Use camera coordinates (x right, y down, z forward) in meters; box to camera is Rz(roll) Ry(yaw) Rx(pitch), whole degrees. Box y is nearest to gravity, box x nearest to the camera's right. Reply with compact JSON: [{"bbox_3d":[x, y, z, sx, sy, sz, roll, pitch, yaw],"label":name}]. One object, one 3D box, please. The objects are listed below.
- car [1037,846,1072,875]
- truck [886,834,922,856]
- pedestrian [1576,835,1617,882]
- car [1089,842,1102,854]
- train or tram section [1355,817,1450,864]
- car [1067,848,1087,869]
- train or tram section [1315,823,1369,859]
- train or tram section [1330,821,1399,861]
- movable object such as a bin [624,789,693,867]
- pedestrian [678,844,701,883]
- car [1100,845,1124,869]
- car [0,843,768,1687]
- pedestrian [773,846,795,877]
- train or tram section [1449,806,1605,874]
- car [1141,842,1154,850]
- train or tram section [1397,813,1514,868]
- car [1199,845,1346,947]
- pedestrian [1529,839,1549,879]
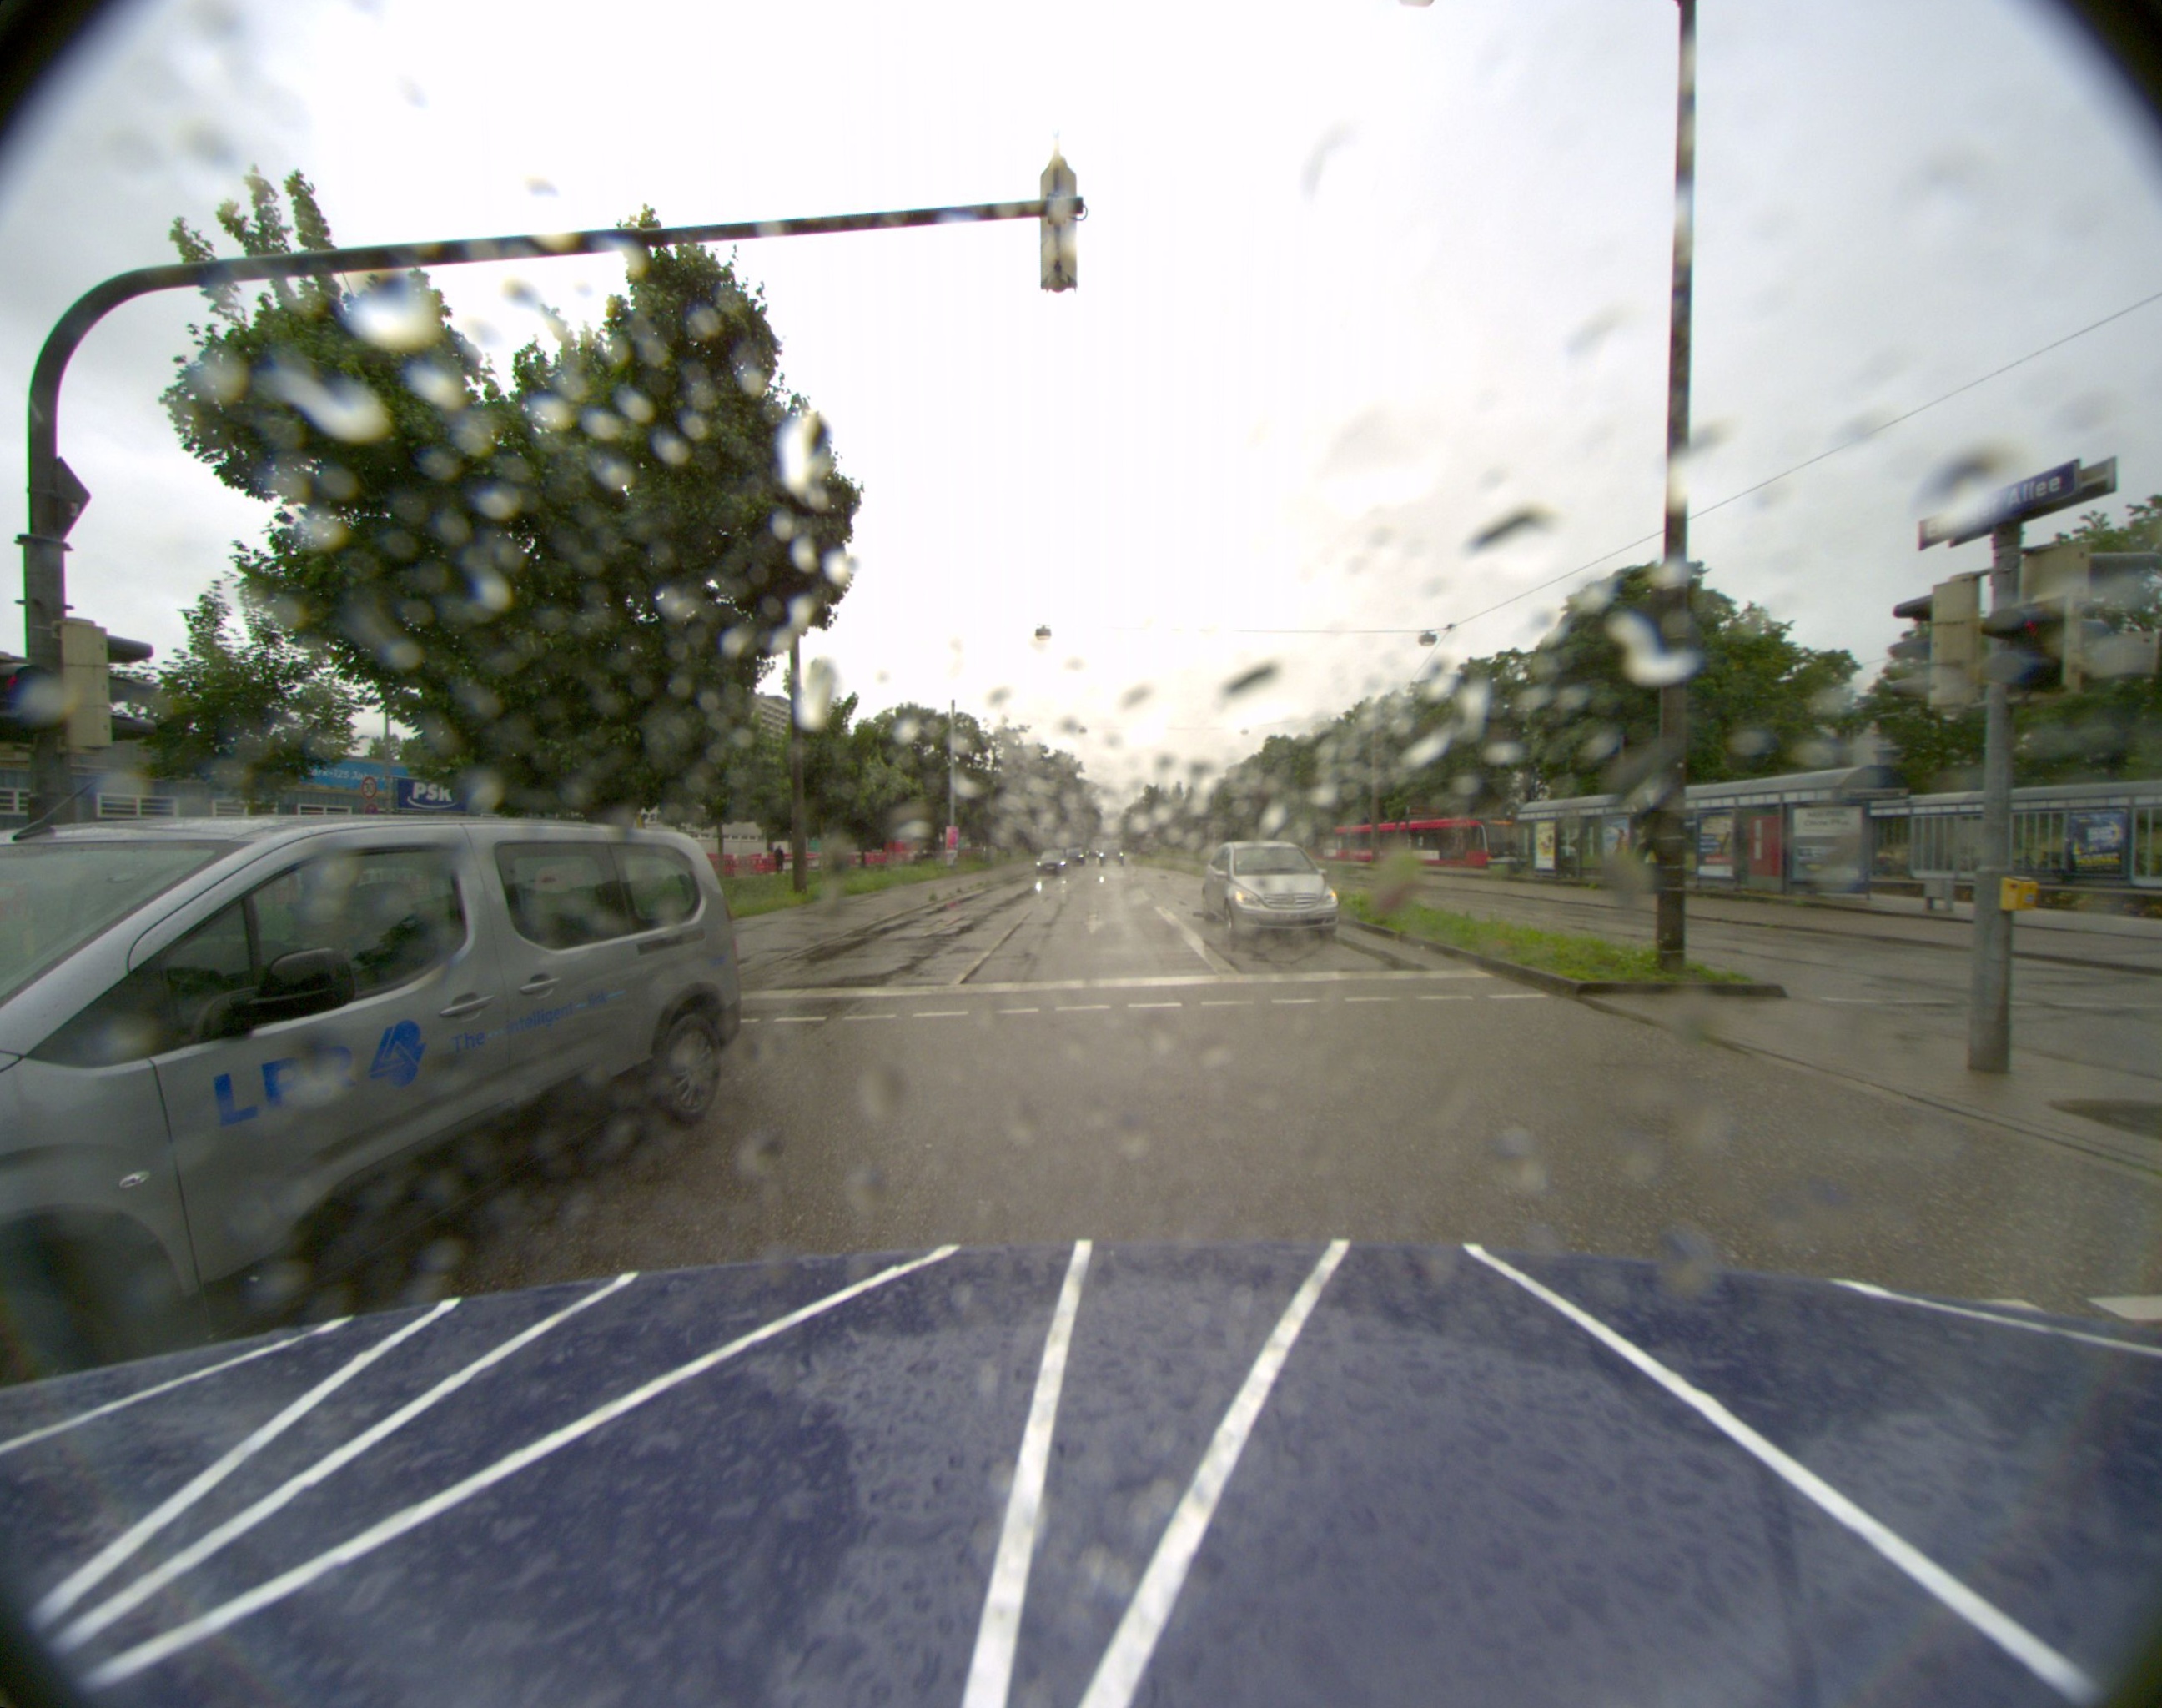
[{"bbox_3d":[-1.578,0.388,46.687,1.858,1.583,3.999,-2,1,1],"label":"car"},{"bbox_3d":[-24.914,-1.371,107.216,2.811,2.882,8.748,-2,1,1],"label":"truck"},{"bbox_3d":[18.023,0.151,26.586,0.806,1.588,0.929,-1,1,4],"label":"pedestrian"},{"bbox_3d":[2.147,-0.879,112.772,1.726,1.643,3.999,-2,1,1],"label":"car"},{"bbox_3d":[25.205,-1.034,60.397,3.541,3.381,10.260,0,1,2],"label":"train or tram section"},{"bbox_3d":[-0.348,0.345,66.408,1.651,1.652,3.776,-2,1,-1],"label":"car"},{"bbox_3d":[25.757,-1.288,75.320,3.541,3.398,5.769,0,1,2],"label":"train or tram section"},{"bbox_3d":[25.513,-1.173,68.866,3.541,3.393,7.902,0,1,2],"label":"train or tram section"},{"bbox_3d":[-25.103,-1.540,45.321,1.557,4.401,3.909,-2,2,3],"label":"movable object such as a bin"},{"bbox_3d":[-19.474,0.462,37.832,0.580,1.886,0.876,-2,2,1],"label":"pedestrian"},{"bbox_3d":[2.420,0.222,60.247,1.812,1.683,3.776,-2,1,2],"label":"car"},{"bbox_3d":[-3.309,0.893,3.129,1.998,1.785,4.561,-2,1,1],"label":"car"},{"bbox_3d":[-19.116,0.476,48.882,0.814,1.925,1.212,-2,2,1],"label":"pedestrian"},{"bbox_3d":[24.553,-0.753,42.616,3.541,3.370,9.278,0,1,2],"label":"train or tram section"},{"bbox_3d":[11.530,-1.402,131.811,1.684,1.353,4.250,1,1,0],"label":"car"},{"bbox_3d":[24.868,-0.885,51.191,3.541,3.371,9.278,0,1,2],"label":"train or tram section"},{"bbox_3d":[3.282,0.629,13.795,1.740,1.535,4.013,-1,1,1],"label":"car"},{"bbox_3d":[18.292,0.180,30.380,0.522,1.553,0.602,-2,2,16],"label":"pedestrian"}]
